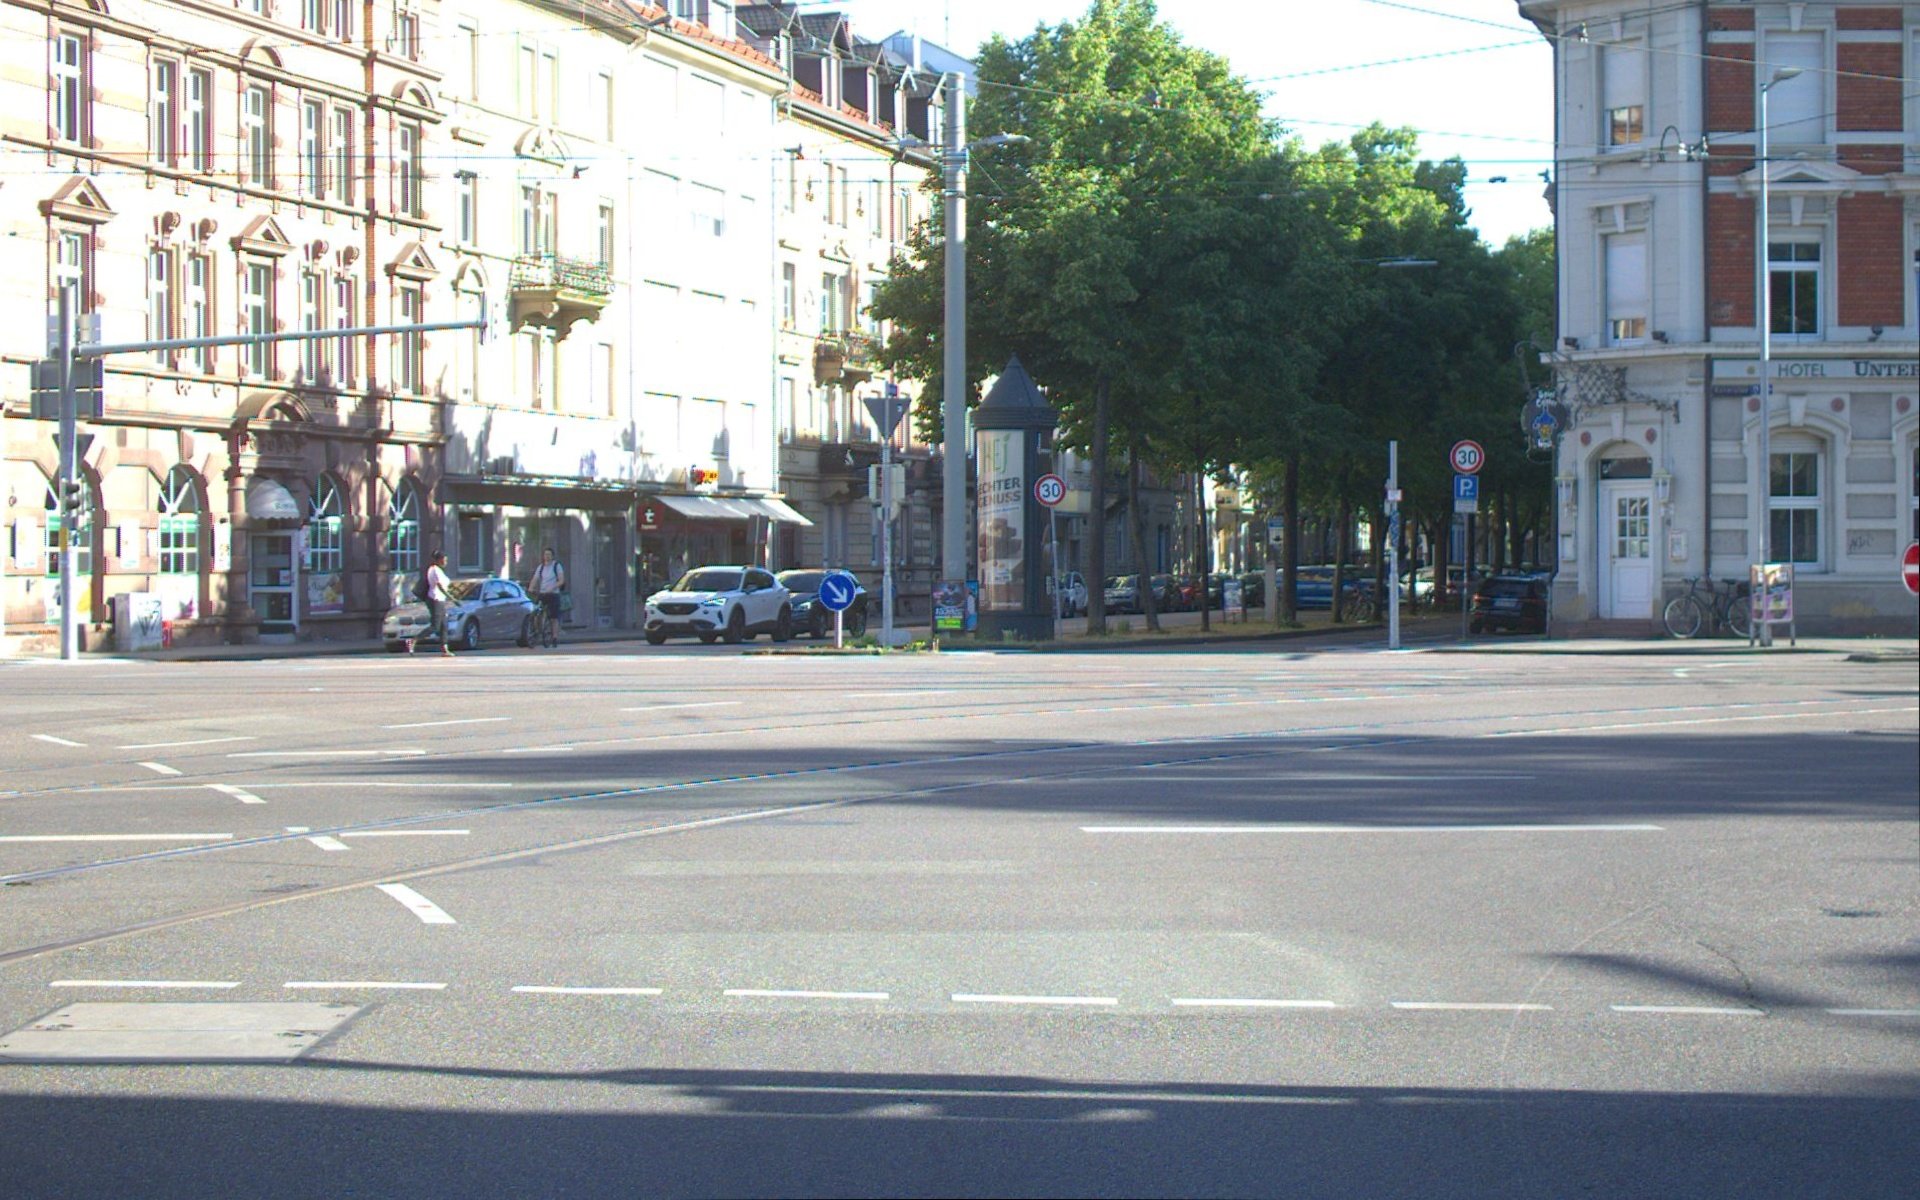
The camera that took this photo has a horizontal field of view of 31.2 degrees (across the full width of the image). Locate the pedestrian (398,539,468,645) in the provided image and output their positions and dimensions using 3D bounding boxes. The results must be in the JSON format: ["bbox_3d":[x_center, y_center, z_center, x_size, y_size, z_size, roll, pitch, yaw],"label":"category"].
[{"bbox_3d":[-8.697,-0.143,56.718,1.046,1.738,0.809,0,1,-15],"label":"pedestrian"}]

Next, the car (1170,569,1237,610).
[{"bbox_3d":[9.662,-0.429,136.344,1.766,1.544,4.387,0,1,16],"label":"car"}]

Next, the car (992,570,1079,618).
[{"bbox_3d":[2.457,-0.197,110.973,1.995,1.481,3.998,0,1,14],"label":"car"}]

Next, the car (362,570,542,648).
[{"bbox_3d":[-9.866,0.151,67.056,1.900,1.450,3.997,0,1,17],"label":"car"}]

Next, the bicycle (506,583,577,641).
[{"bbox_3d":[-7.902,0.220,65.018,0.680,1.062,2.124,0,1,12],"label":"bicycle"}]

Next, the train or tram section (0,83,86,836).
[{"bbox_3d":[-5.687,-0.609,13.793,2.814,3.488,8.463,0,1,-5],"label":"train or tram section"}]

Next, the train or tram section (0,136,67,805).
[{"bbox_3d":[-7.951,-0.771,23.277,2.769,3.488,12.034,-1,1,-19],"label":"train or tram section"}]

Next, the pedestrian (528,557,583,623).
[{"bbox_3d":[-9.404,-0.244,80.051,0.929,1.530,1.136,0,1,14],"label":"pedestrian"}]

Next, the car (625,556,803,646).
[{"bbox_3d":[-4.778,-0.011,67.333,1.995,1.678,4.387,0,1,17],"label":"car"}]

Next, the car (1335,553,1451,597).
[{"bbox_3d":[16.825,-0.972,133.639,3.993,1.700,1.997,0,1,30],"label":"car"}]

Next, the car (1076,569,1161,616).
[{"bbox_3d":[5.673,-0.268,122.676,1.995,1.607,4.387,0,1,17],"label":"car"}]

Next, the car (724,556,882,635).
[{"bbox_3d":[-3.334,-0.126,73.846,1.995,1.606,4.387,0,1,17],"label":"car"}]

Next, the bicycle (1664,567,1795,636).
[{"bbox_3d":[12.846,0.023,57.403,2.085,1.120,0.367,1,0,-4],"label":"bicycle"}]

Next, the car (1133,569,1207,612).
[{"bbox_3d":[7.998,-0.383,130.466,1.839,1.547,4.387,0,1,17],"label":"car"}]

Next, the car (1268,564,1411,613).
[{"bbox_3d":[12.748,-0.408,115.468,4.382,1.606,1.997,0,1,27],"label":"car"}]

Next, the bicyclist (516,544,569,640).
[{"bbox_3d":[-7.892,-0.159,65.053,0.679,1.814,1.070,0,1,12],"label":"bicyclist"}]

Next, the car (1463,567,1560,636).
[{"bbox_3d":[13.250,0.011,82.455,1.995,1.579,3.998,0,1,14],"label":"car"}]
